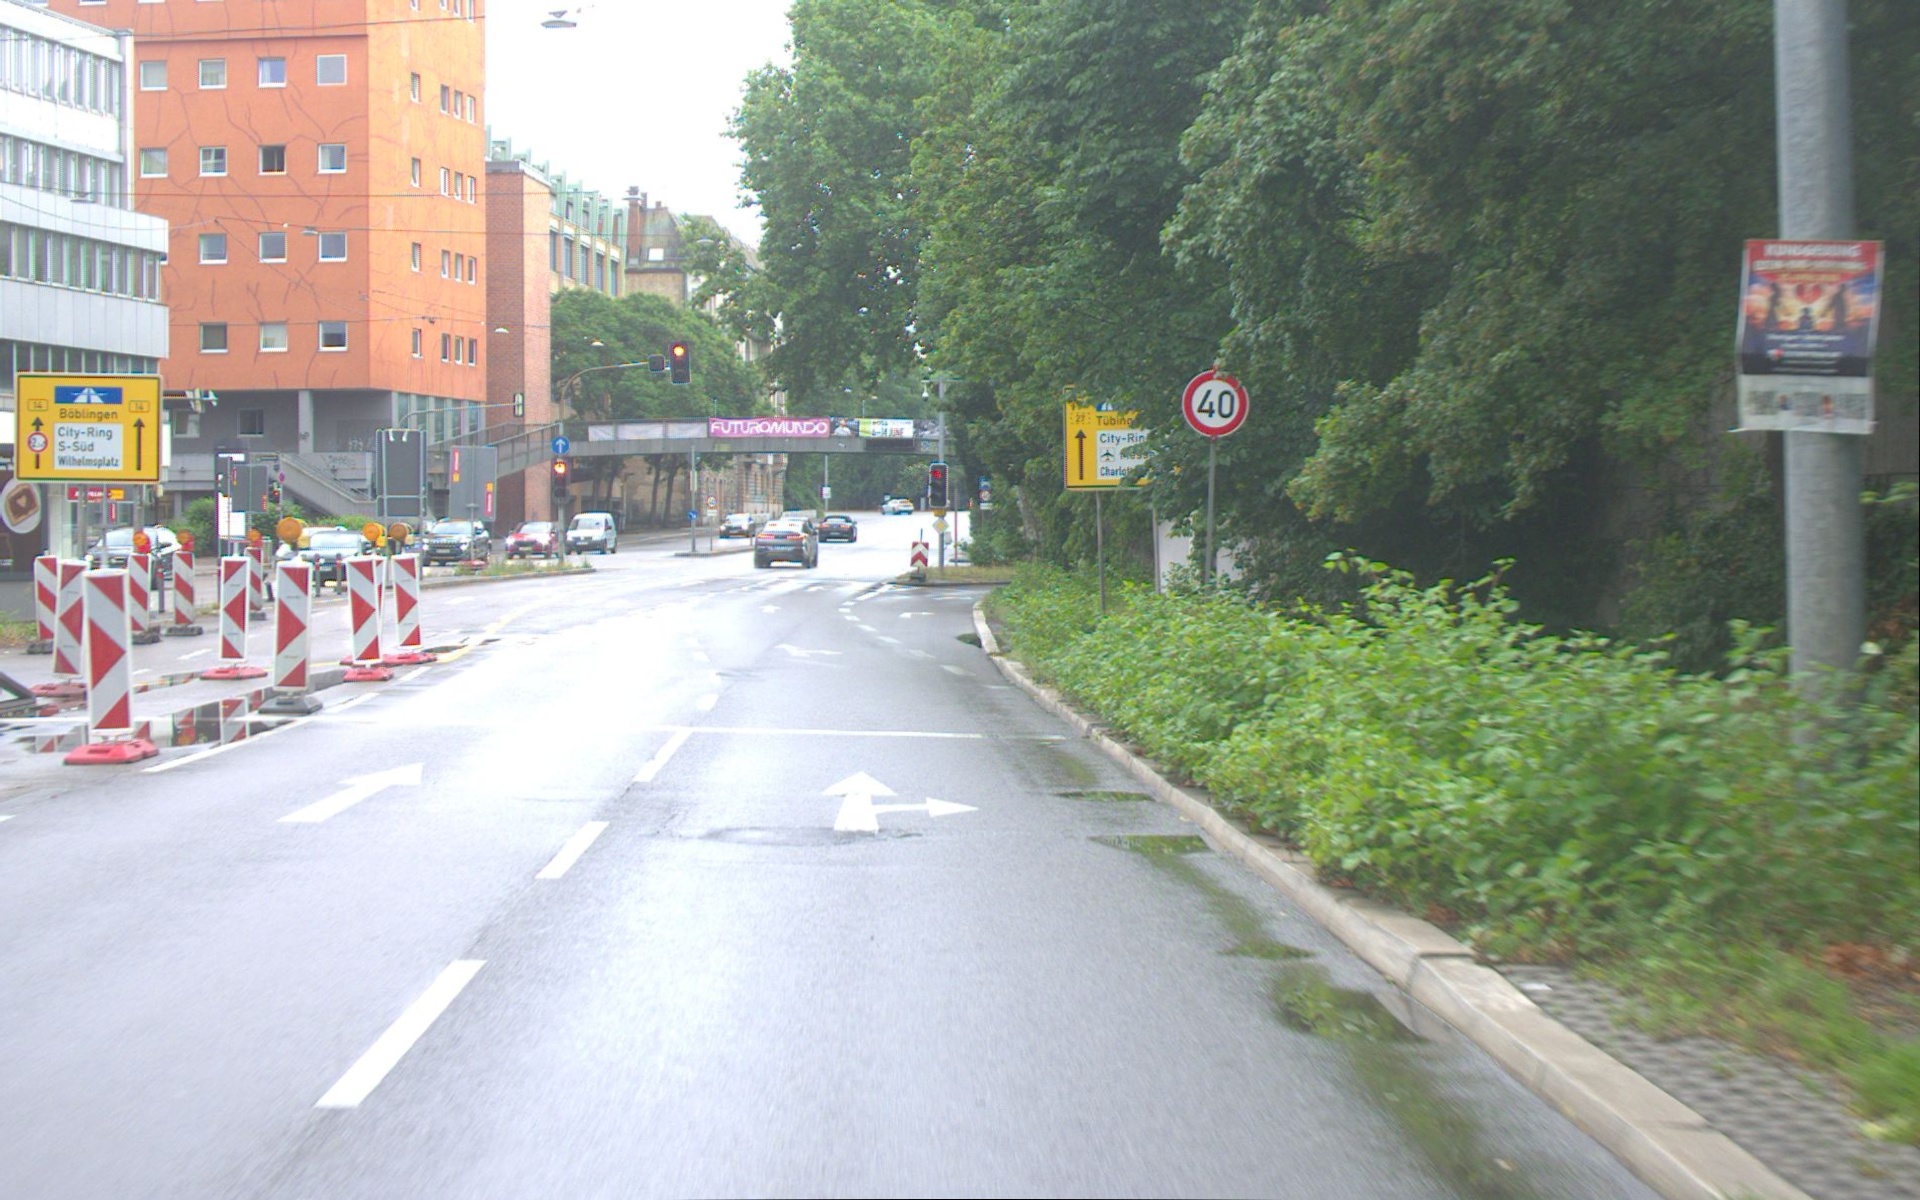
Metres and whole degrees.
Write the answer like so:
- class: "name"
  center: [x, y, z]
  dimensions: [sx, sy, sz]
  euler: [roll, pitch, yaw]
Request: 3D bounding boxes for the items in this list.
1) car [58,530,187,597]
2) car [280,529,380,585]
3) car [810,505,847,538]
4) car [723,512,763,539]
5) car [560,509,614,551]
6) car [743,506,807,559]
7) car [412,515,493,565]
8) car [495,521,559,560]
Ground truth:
- class: "car"
  center: [-19.672, -0.862, 80.905]
  dimensions: [1.752, 1.508, 3.999]
  euler: [-1, 1, 5]
- class: "car"
  center: [-16.079, -1.124, 87.867]
  dimensions: [1.689, 1.349, 4.115]
  euler: [-1, 1, 1]
- class: "car"
  center: [-6.984, -4.156, 182.637]
  dimensions: [1.763, 1.691, 3.706]
  euler: [-1, 1, 1]
- class: "car"
  center: [-12.582, -4.331, 199.648]
  dimensions: [1.993, 1.514, 4.000]
  euler: [0, 1, 1]
- class: "car"
  center: [-16.264, -3.064, 149.949]
  dimensions: [1.734, 1.780, 4.301]
  euler: [-1, 1, 2]
- class: "car"
  center: [-6.651, -2.437, 123.833]
  dimensions: [2.120, 1.729, 4.199]
  euler: [2, 2, -1]
- class: "car"
  center: [-18.057, -2.138, 122.523]
  dimensions: [1.846, 1.731, 4.604]
  euler: [0, 1, 5]
- class: "car"
  center: [-17.195, -2.367, 136.704]
  dimensions: [1.829, 1.497, 4.373]
  euler: [-1, 1, 2]
